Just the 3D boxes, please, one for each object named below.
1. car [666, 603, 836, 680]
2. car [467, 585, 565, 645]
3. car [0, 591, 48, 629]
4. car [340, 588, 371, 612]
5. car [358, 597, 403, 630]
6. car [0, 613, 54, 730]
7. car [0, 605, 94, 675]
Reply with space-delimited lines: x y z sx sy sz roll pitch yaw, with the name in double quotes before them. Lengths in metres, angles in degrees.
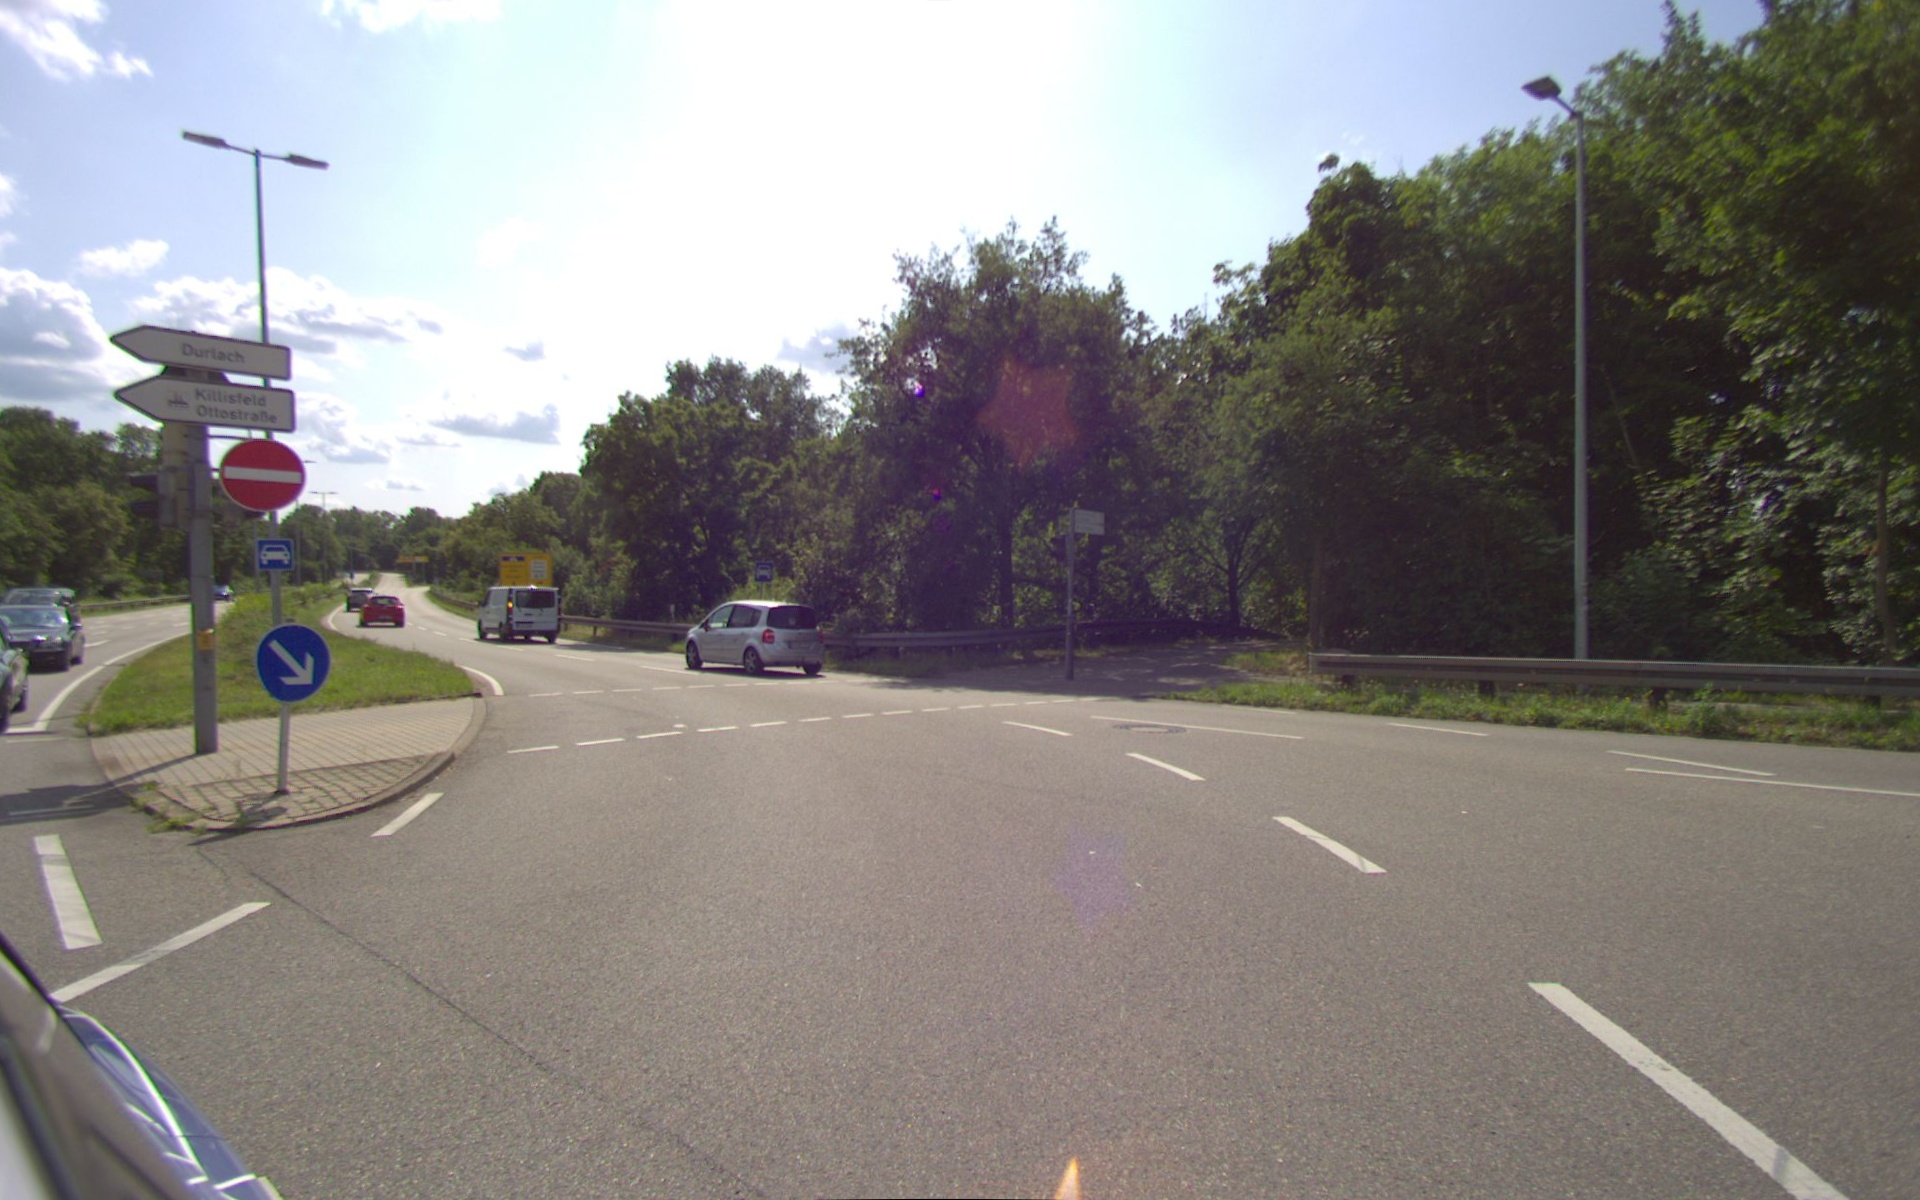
"car" -4.672 0.859 22.304 1.713 1.532 4.070 2 -2 -45
"car" -16.285 0.558 36.947 1.968 2.029 5.145 2 -2 -39
"car" -36.855 0.392 38.909 1.828 1.421 4.012 -1 0 -30
"car" -41.392 0.021 69.301 1.687 1.598 4.294 2 -1 -32
"car" -27.034 0.633 47.173 1.559 1.443 4.011 1 -1 -33
"car" -13.018 0.855 12.763 1.828 1.373 4.010 1 -1 -34
"car" -20.744 0.836 22.608 1.829 1.421 4.009 -1 0 -36
